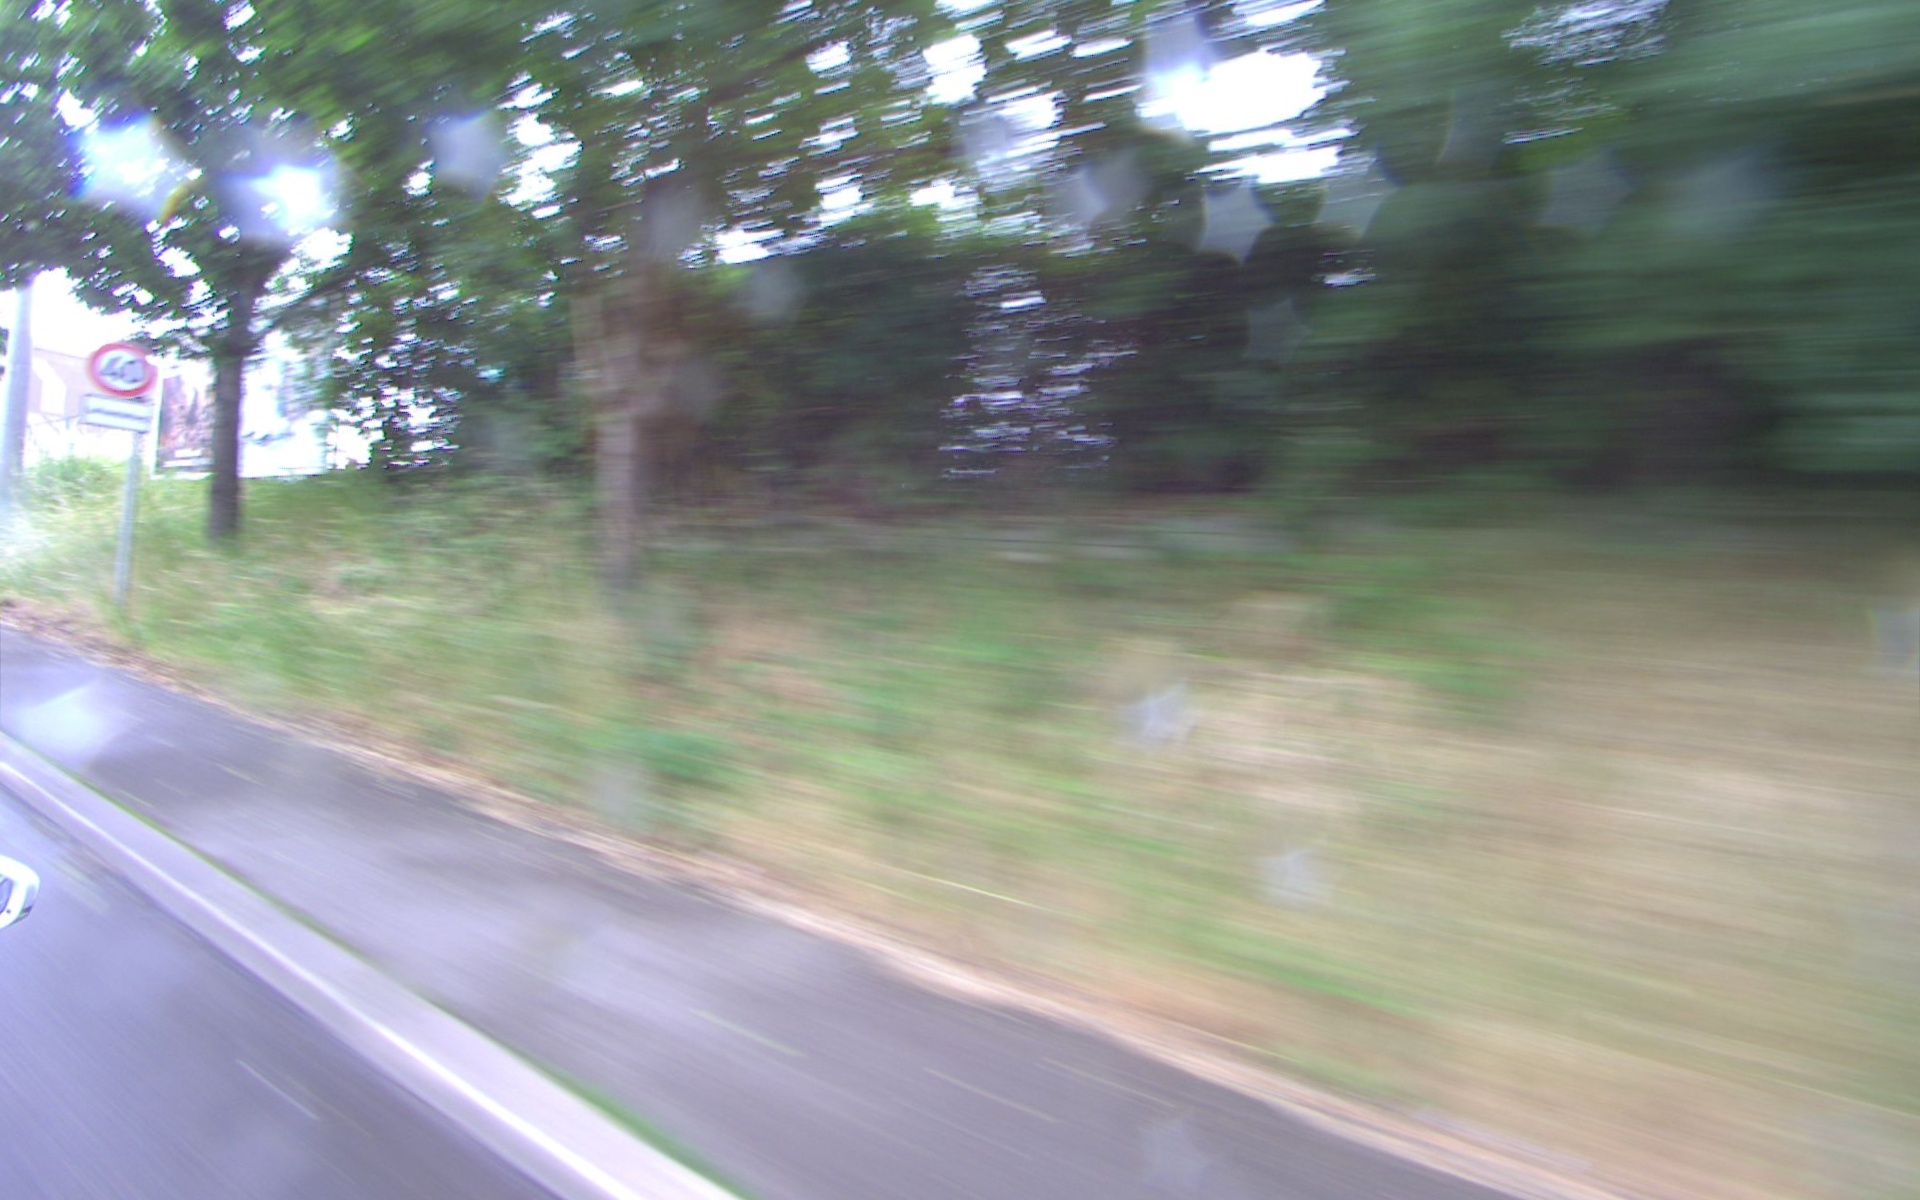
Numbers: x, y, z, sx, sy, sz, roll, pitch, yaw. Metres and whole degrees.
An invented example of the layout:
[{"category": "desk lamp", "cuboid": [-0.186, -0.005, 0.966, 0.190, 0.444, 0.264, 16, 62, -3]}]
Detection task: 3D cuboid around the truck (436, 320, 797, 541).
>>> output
[{"category": "truck", "cuboid": [-5.874, -2.616, 16.859, 5.959, 2.674, 2.292, 4, -8, 35]}]
